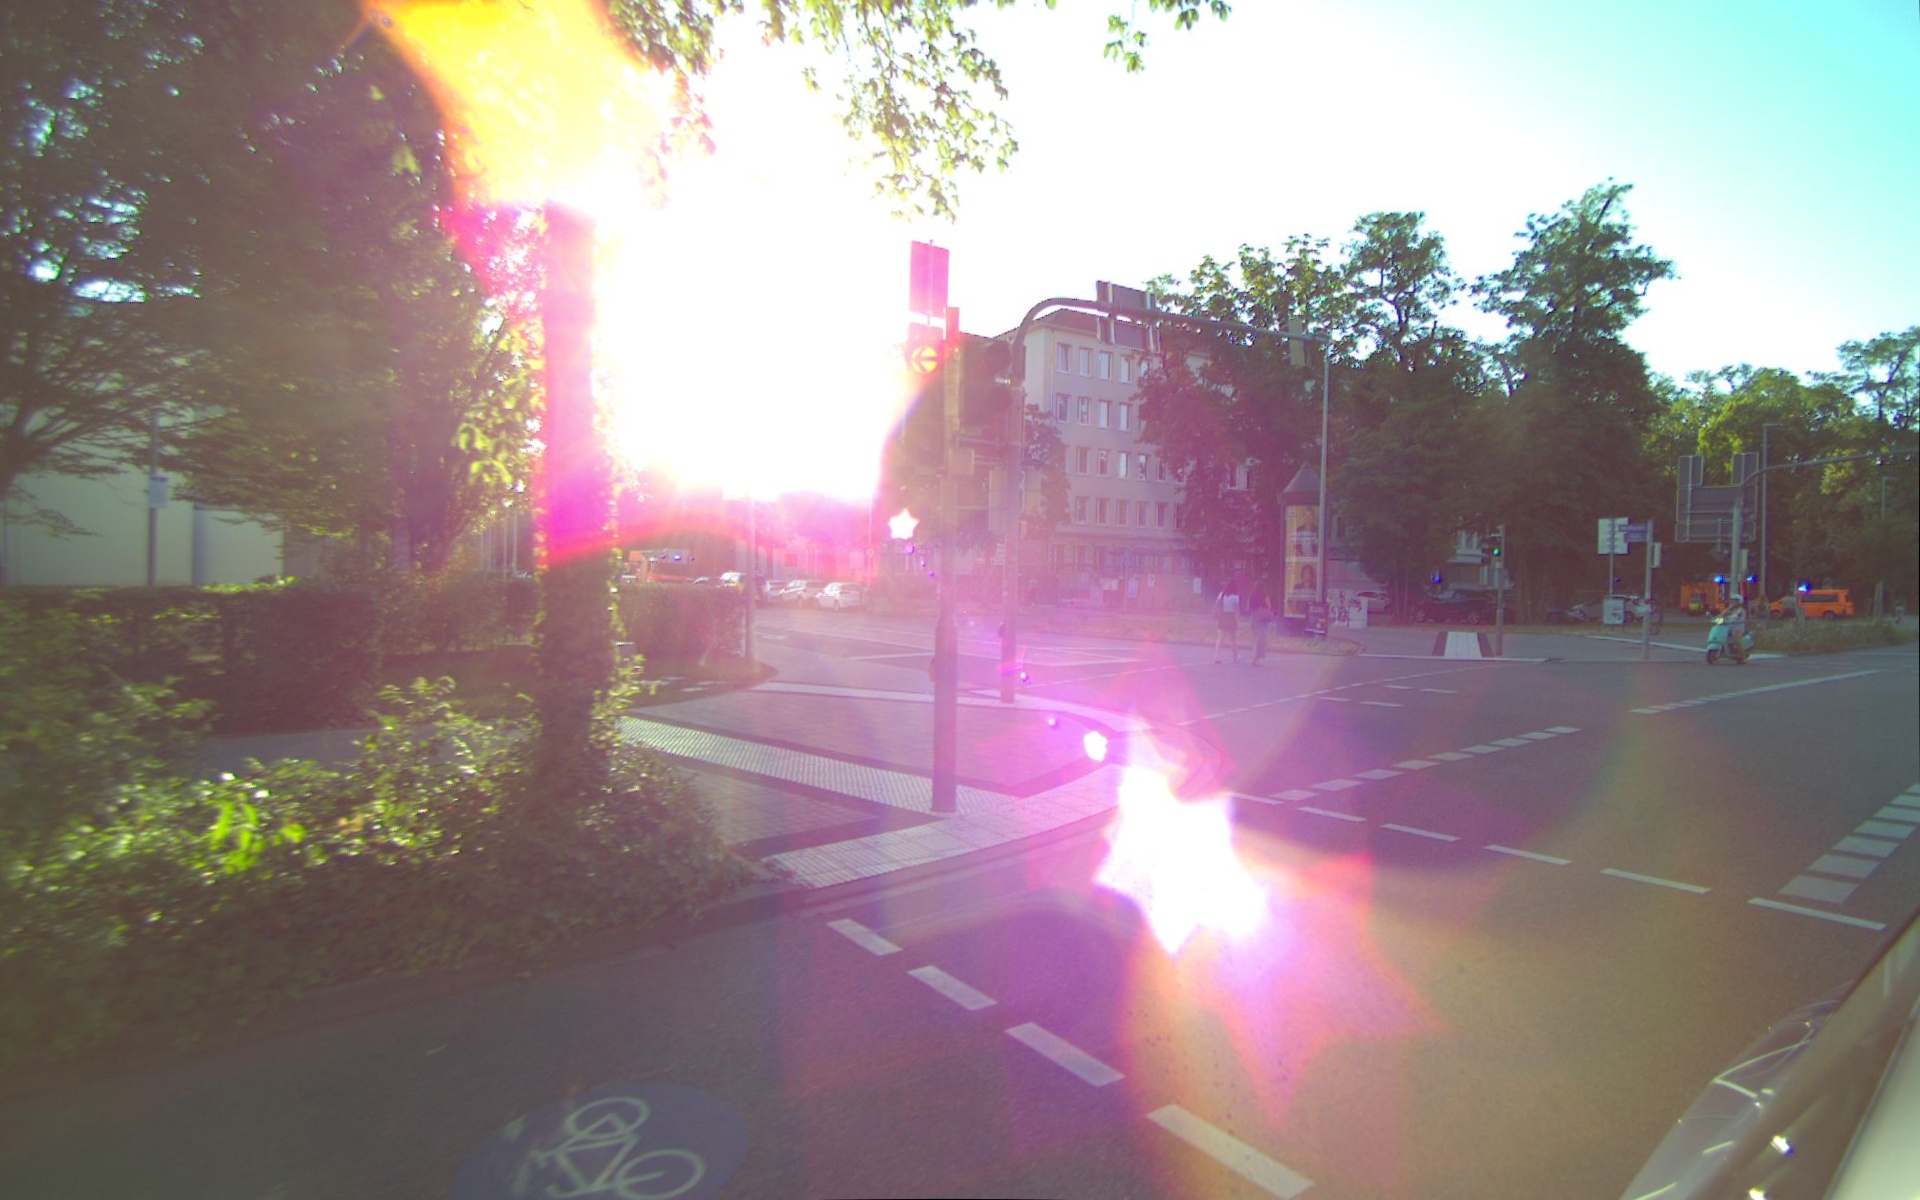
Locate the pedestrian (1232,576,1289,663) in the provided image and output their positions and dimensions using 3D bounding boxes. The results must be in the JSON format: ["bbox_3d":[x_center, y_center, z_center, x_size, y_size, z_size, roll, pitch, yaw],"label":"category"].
[{"bbox_3d":[5.870,0.369,19.752,0.829,1.642,0.682,1,0,-38],"label":"pedestrian"}]

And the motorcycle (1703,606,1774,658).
[{"bbox_3d":[18.648,0.752,24.233,1.856,1.213,0.685,1,0,-30],"label":"motorcycle"}]

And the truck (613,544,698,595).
[{"bbox_3d":[-20.708,-2.021,68.251,2.590,3.179,10.278,0,1,-34],"label":"truck"}]

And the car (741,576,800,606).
[{"bbox_3d":[-11.127,-0.554,59.340,1.961,1.660,4.002,0,1,-34],"label":"car"}]

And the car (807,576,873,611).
[{"bbox_3d":[-6.110,-0.353,51.310,1.863,1.660,4.004,0,1,-30],"label":"car"}]

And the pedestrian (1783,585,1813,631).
[{"bbox_3d":[31.375,0.284,37.890,0.763,1.681,0.720,0,1,-42],"label":"pedestrian"}]

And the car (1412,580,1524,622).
[{"bbox_3d":[23.395,0.014,46.760,1.881,1.762,4.242,0,1,-32],"label":"car"}]

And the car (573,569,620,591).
[{"bbox_3d":[-35.252,-1.958,98.146,3.743,1.804,1.931,-5,2,-38],"label":"car"}]

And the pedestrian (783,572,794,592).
[{"bbox_3d":[-13.842,-1.449,81.556,0.670,1.642,0.689,0,1,-33],"label":"pedestrian"}]

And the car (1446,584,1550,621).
[{"bbox_3d":[25.655,0.084,48.386,1.881,1.631,4.004,0,1,-31],"label":"car"}]

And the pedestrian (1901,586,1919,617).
[{"bbox_3d":[51.730,0.089,55.060,0.676,1.642,0.682,1,0,-38],"label":"pedestrian"}]

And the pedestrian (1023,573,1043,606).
[{"bbox_3d":[3.876,-0.550,53.789,0.690,1.760,0.897,1,1,-29],"label":"pedestrian"}]

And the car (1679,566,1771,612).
[{"bbox_3d":[58.077,-0.821,76.791,8.133,3.284,2.776,0,1,-32],"label":"car"}]

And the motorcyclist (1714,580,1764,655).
[{"bbox_3d":[18.653,0.400,24.240,0.676,1.759,0.741,1,0,-29],"label":"motorcyclist"}]

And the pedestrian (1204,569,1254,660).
[{"bbox_3d":[5.415,0.283,20.379,0.676,1.776,0.682,1,0,-38],"label":"pedestrian"}]

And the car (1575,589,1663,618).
[{"bbox_3d":[35.871,0.155,55.161,1.632,1.477,3.669,0,1,-33],"label":"car"}]

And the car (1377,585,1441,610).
[{"bbox_3d":[28.267,-0.152,63.758,1.734,1.477,3.321,1,1,-25],"label":"car"}]

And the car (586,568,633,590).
[{"bbox_3d":[-33.339,-1.998,96.228,3.743,1.804,1.931,-5,2,-38],"label":"car"}]

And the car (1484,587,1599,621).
[{"bbox_3d":[28.444,0.172,49.645,1.882,1.482,4.521,0,1,-35],"label":"car"}]

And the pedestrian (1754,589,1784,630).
[{"bbox_3d":[30.850,0.361,38.611,0.775,1.542,0.736,0,1,-40],"label":"pedestrian"}]

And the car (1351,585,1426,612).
[{"bbox_3d":[26.389,-0.116,62.449,1.879,1.540,3.922,0,1,-29],"label":"car"}]

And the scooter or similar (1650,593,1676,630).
[{"bbox_3d":[24.976,0.392,35.944,1.158,1.287,0.441,0,1,-39],"label":"scooter or similar"}]

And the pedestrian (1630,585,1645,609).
[{"bbox_3d":[55.001,-0.248,82.168,0.830,1.865,0.683,1,0,-35],"label":"pedestrian"}]

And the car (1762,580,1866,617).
[{"bbox_3d":[59.623,-0.153,70.742,1.962,2.422,5.170,0,1,-35],"label":"car"}]

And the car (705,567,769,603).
[{"bbox_3d":[-12.416,-0.798,56.198,2.016,1.886,4.496,0,-1,-34],"label":"car"}]

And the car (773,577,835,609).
[{"bbox_3d":[-8.530,-0.412,55.109,1.961,1.632,4.004,0,1,-32],"label":"car"}]

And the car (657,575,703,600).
[{"bbox_3d":[-19.970,-0.901,72.023,1.961,1.660,4.002,0,1,-34],"label":"car"}]
